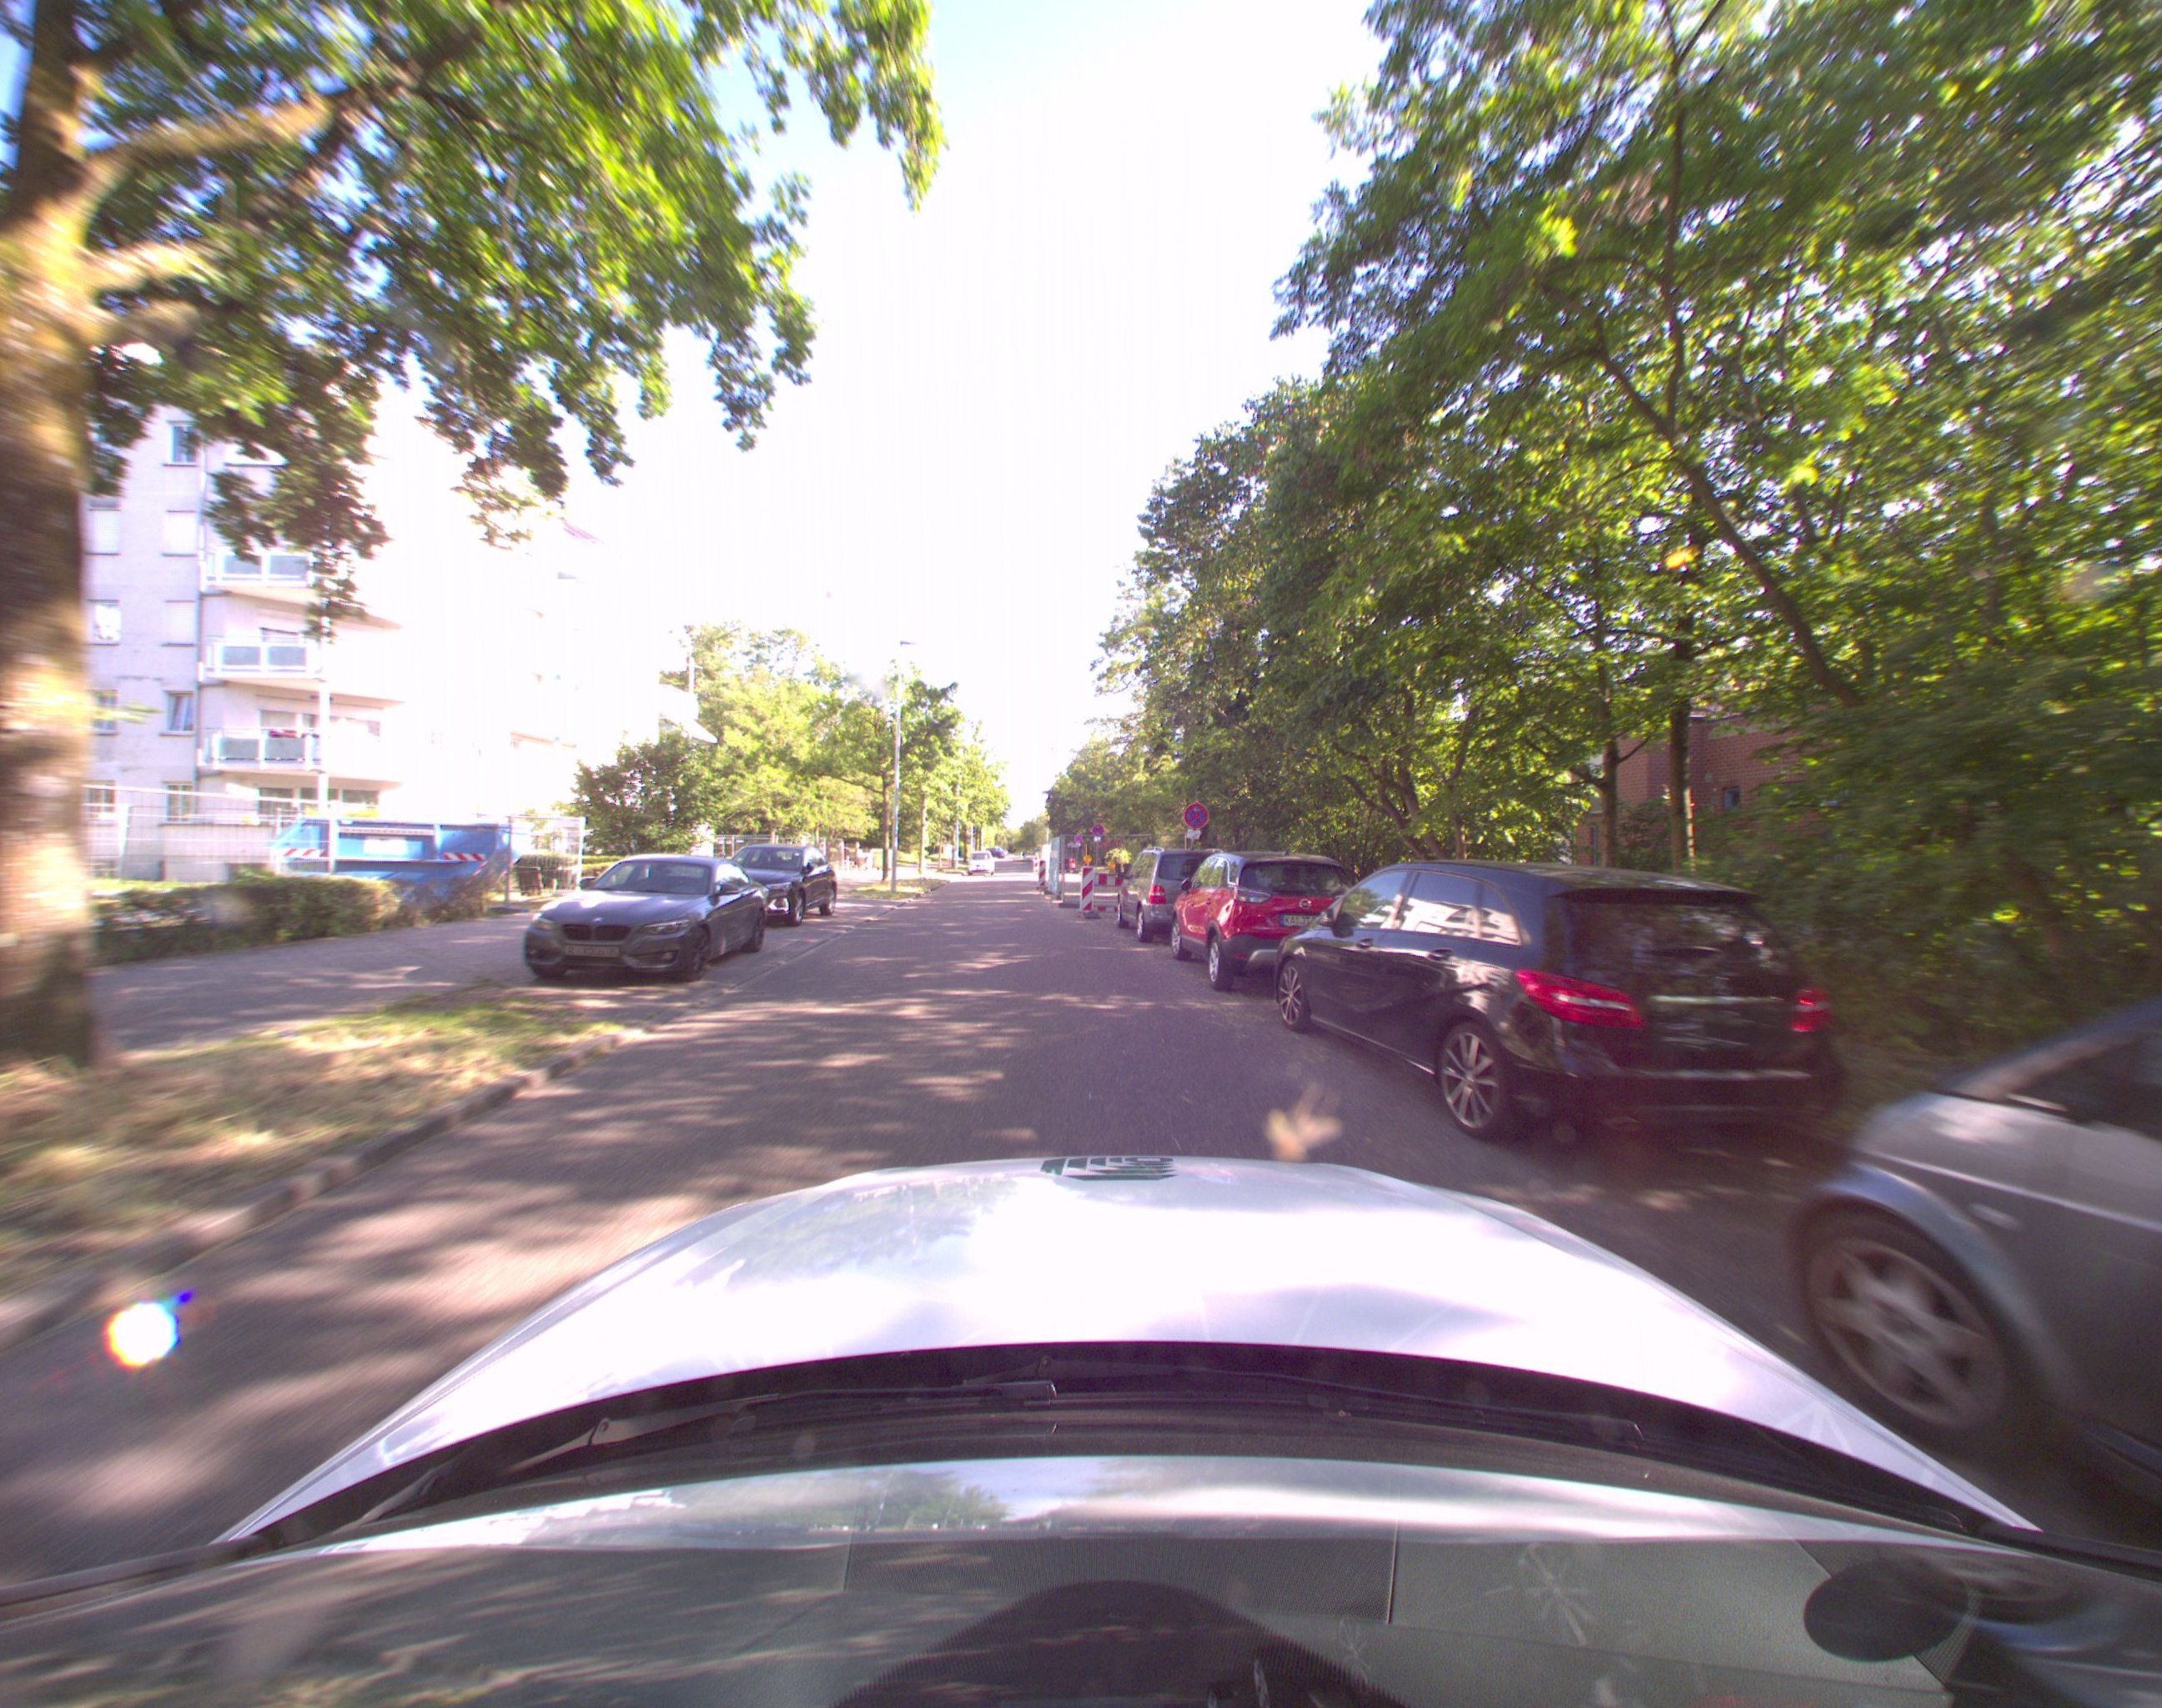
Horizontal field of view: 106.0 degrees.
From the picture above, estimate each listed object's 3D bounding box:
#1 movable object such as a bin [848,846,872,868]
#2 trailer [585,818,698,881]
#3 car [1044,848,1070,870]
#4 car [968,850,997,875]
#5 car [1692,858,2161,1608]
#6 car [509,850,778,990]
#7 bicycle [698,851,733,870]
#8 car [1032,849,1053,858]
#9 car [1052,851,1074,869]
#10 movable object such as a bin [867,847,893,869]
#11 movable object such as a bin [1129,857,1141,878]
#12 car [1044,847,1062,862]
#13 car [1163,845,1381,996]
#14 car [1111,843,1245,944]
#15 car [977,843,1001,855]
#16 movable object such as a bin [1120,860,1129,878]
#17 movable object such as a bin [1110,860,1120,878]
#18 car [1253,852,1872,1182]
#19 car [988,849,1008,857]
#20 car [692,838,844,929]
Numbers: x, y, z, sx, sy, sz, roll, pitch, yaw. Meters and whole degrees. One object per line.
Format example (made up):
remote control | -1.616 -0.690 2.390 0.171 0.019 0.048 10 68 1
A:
movable object such as a bin | -15.138 0.197 55.810 1.150 1.435 1.259 0 0 -38
trailer | -16.430 -0.160 30.715 1.858 2.120 4.344 2 0 -1
car | -1.847 0.373 63.668 1.804 1.651 4.420 2 0 0
car | -6.640 0.559 55.263 1.656 1.596 4.003 1 0 -4
car | 2.959 0.794 1.572 1.490 1.509 2.674 1 0 -2
car | -5.392 0.698 10.709 1.715 1.432 4.126 2 0 -8
bicycle | -19.937 0.377 44.454 1.689 1.027 0.400 0 -1 1
car | -7.355 -0.080 155.262 3.824 1.576 1.689 2 0 2
car | -1.575 0.496 70.434 1.658 1.375 4.148 2 0 -5
movable object such as a bin | -13.393 0.267 54.313 1.261 1.435 1.185 0 0 12
movable object such as a bin | 2.664 0.658 40.068 0.518 0.999 0.607 -1 0 -4
car | -3.657 0.066 106.075 1.789 1.785 4.545 2 0 -8
car | 2.238 0.702 10.673 1.675 1.574 4.061 1 0 -3
car | 1.673 0.643 15.389 1.676 1.621 4.130 1 0 -5
car | -20.686 -1.140 183.961 5.199 2.621 2.286 2 0 -10
movable object such as a bin | 2.141 0.735 40.158 0.412 0.870 0.483 -1 0 -4
movable object such as a bin | 1.657 0.746 40.049 0.412 0.870 0.483 -1 0 -4
car | 2.787 0.775 5.952 1.710 1.509 4.139 1 0 -7
car | -17.861 -0.123 175.229 4.097 1.576 1.956 2 0 -3
car | -6.379 0.539 17.131 1.772 1.621 4.214 2 0 -5
